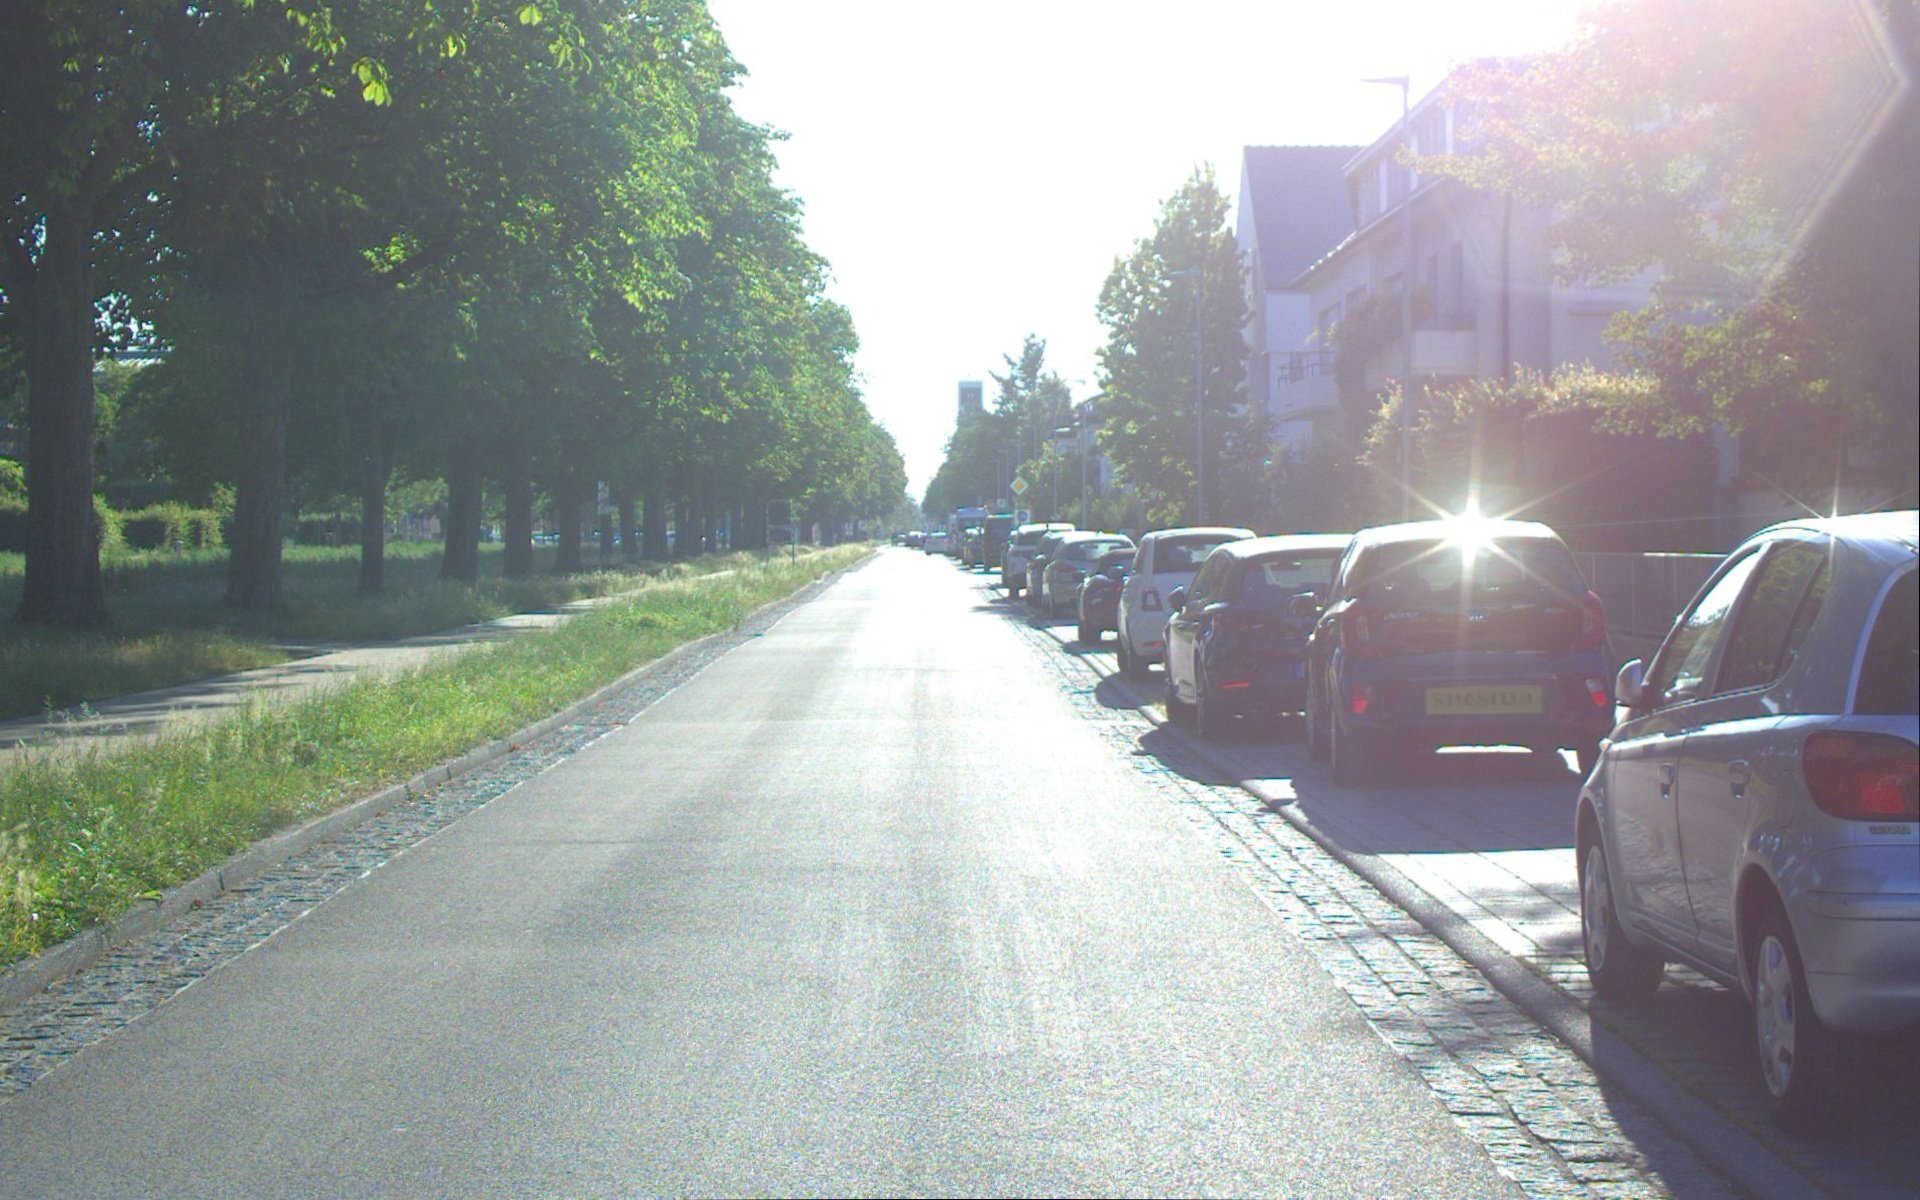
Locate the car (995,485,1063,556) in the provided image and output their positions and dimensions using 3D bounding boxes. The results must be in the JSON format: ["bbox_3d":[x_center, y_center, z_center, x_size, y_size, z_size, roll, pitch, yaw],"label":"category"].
[{"bbox_3d":[1.539,-1.788,77.445,1.498,1.561,3.267,0,1,1],"label":"car"}]

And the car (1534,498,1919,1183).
[{"bbox_3d":[2.731,0.486,9.575,1.627,1.499,3.633,-2,2,0],"label":"car"}]

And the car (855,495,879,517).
[{"bbox_3d":[-6.710,-6.807,249.329,1.652,1.536,3.267,1,1,-1],"label":"car"}]

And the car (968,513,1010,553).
[{"bbox_3d":[1.185,-2.719,139.389,1.652,1.536,3.267,1,1,0],"label":"car"}]

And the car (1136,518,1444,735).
[{"bbox_3d":[2.383,0.153,25.770,1.736,1.444,4.197,-2,1,-2],"label":"car"}]

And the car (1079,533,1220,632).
[{"bbox_3d":[2.457,-0.255,45.224,1.693,1.244,3.497,0,1,1],"label":"car"}]

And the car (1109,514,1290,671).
[{"bbox_3d":[2.402,-0.109,35.183,1.592,1.504,3.592,0,1,0],"label":"car"}]

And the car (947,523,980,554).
[{"bbox_3d":[0.202,-3.189,178.427,1.652,1.536,3.267,1,1,0],"label":"car"}]

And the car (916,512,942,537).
[{"bbox_3d":[-1.999,-4.858,221.522,1.652,1.536,3.267,1,1,-1],"label":"car"}]

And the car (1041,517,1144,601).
[{"bbox_3d":[2.257,-0.712,59.176,1.652,1.391,3.267,0,1,1],"label":"car"}]

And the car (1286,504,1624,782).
[{"bbox_3d":[2.890,0.207,20.718,1.658,1.488,3.716,-2,1,3],"label":"car"}]

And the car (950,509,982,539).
[{"bbox_3d":[0.315,-4.049,183.725,1.652,1.536,3.267,1,1,0],"label":"car"}]

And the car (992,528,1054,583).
[{"bbox_3d":[1.651,-1.190,90.854,1.594,1.429,3.267,0,1,1],"label":"car"}]
